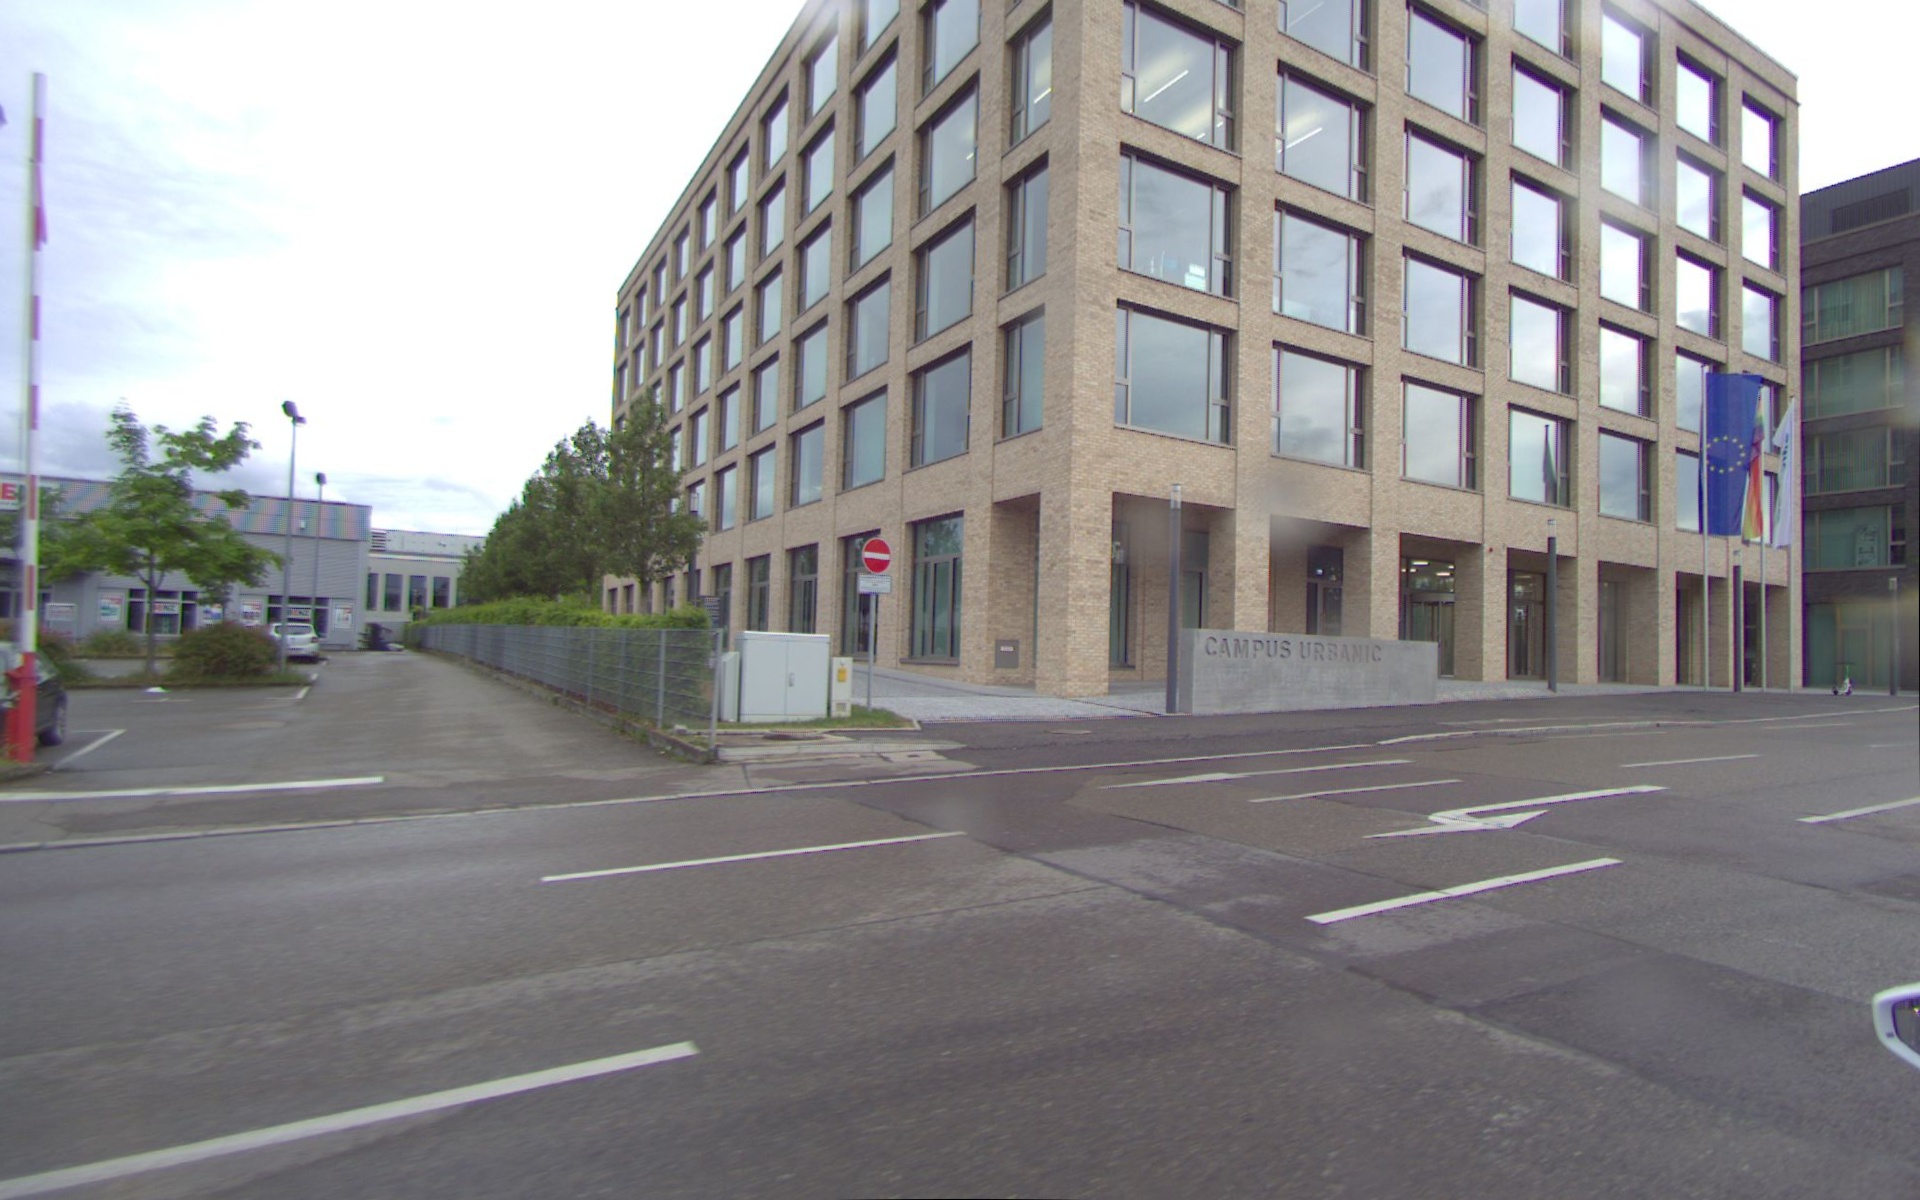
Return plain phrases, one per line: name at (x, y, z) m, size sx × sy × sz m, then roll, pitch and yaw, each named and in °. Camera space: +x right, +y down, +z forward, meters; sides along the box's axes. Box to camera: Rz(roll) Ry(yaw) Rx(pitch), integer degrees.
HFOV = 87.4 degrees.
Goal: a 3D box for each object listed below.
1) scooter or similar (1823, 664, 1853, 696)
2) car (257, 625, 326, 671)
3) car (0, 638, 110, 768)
scooter or similar at (30.733, 2.795, 35.164) m, size 1.411 × 1.085 × 0.349 m, roll 4°, pitch -2°, yaw -30°
car at (-25.644, 1.796, 38.638) m, size 1.977 × 1.617 × 3.967 m, roll 1°, pitch -1°, yaw -31°
car at (-12.686, 1.278, 13.289) m, size 1.525 × 1.483 × 3.471 m, roll 1°, pitch -1°, yaw -30°
